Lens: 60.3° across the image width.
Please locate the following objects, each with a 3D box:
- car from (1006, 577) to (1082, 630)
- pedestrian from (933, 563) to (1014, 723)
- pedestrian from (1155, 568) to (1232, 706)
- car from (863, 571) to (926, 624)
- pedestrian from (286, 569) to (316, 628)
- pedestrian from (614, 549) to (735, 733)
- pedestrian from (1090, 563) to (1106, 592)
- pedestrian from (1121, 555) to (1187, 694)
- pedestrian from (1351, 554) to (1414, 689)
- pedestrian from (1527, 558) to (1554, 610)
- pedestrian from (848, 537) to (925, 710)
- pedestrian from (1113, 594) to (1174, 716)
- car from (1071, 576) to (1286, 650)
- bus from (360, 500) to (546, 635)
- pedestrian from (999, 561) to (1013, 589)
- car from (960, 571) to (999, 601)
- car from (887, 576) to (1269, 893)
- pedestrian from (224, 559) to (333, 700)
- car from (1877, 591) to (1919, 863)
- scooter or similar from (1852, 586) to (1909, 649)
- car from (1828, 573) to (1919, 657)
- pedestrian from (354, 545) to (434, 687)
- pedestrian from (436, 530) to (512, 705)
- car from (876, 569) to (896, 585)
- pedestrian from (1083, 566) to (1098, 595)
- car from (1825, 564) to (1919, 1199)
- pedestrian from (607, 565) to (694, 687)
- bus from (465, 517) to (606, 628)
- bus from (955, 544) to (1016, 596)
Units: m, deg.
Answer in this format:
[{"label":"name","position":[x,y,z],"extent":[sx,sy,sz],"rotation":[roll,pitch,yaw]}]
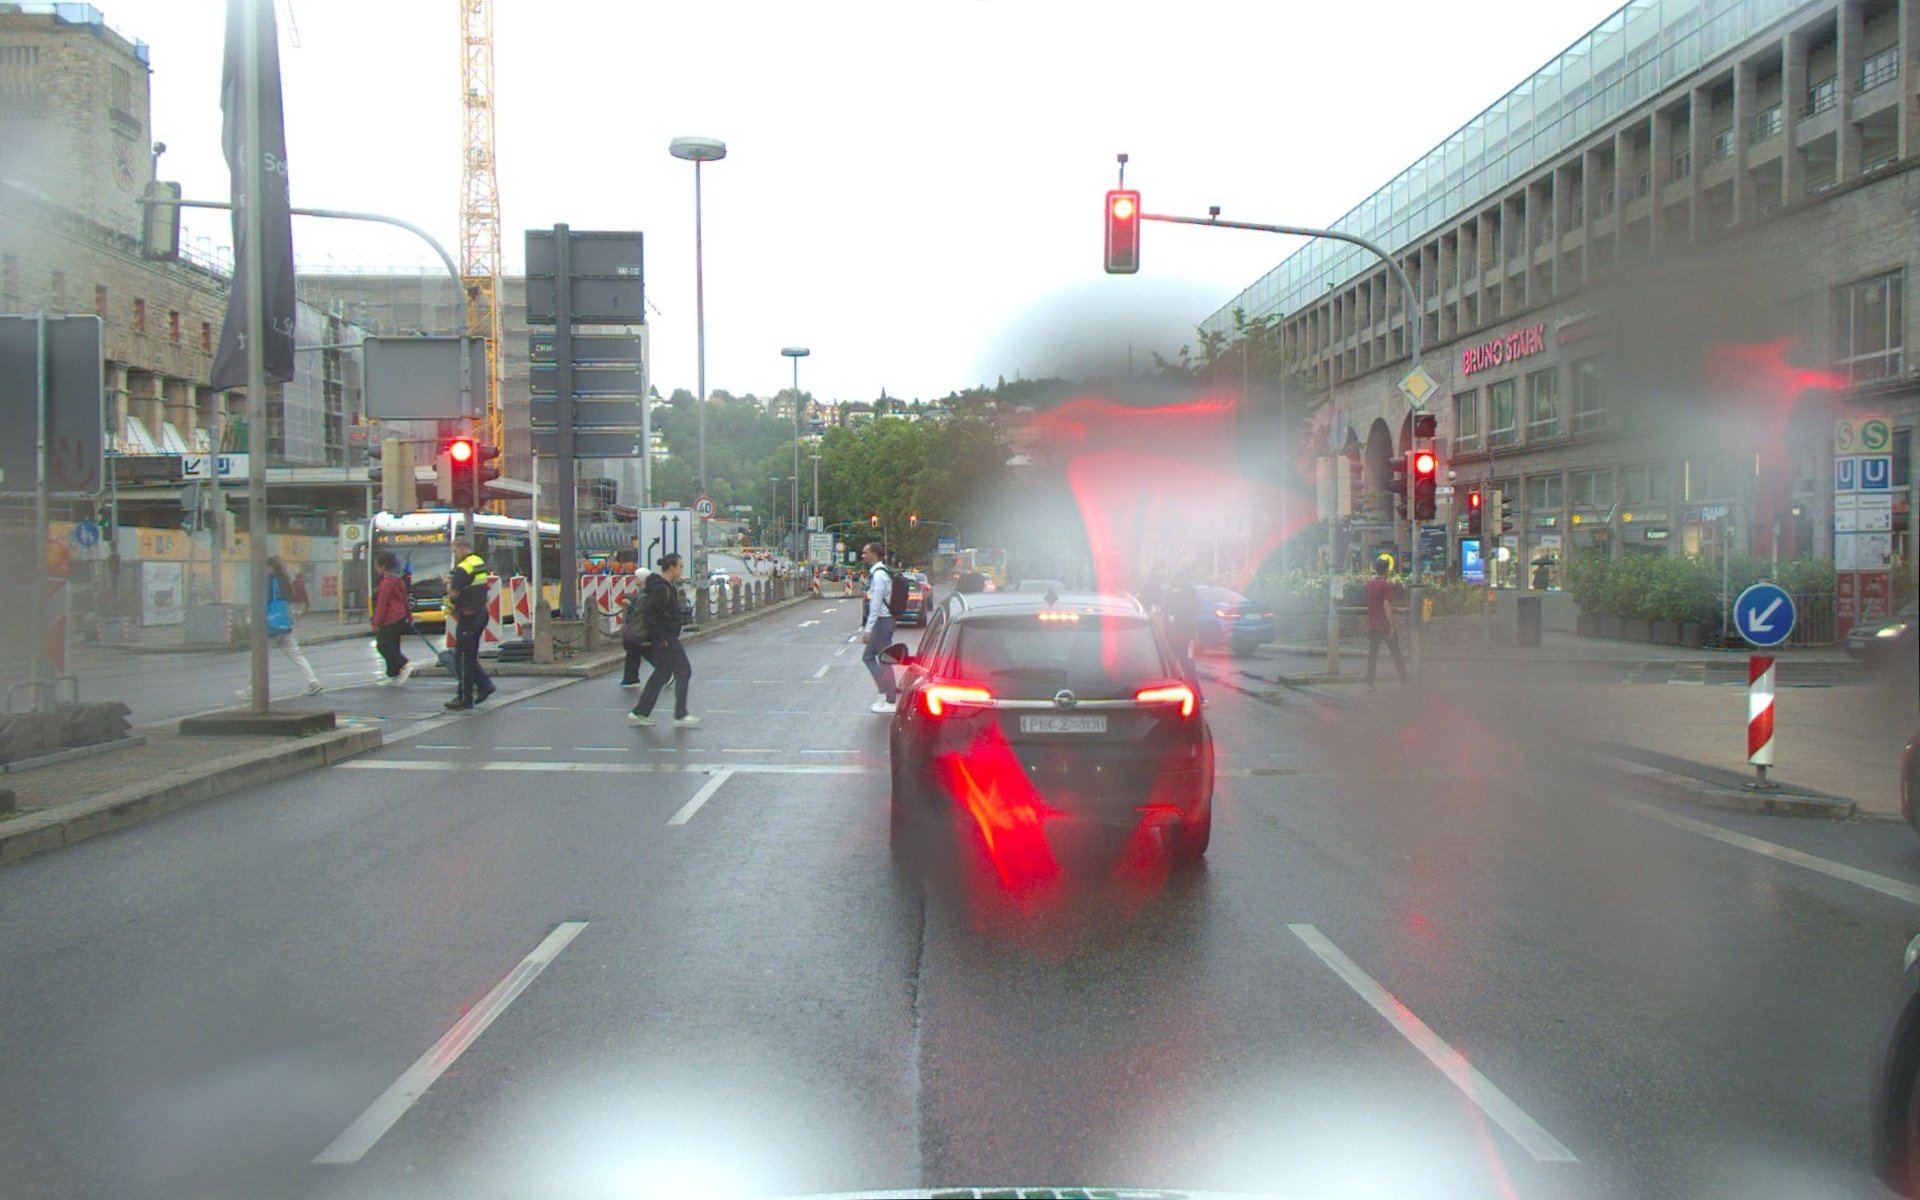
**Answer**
[{"label":"car","position":[2.372,0.078,47.691],"extent":[1.718,1.422,4.399],"rotation":[1,0,-3]},{"label":"pedestrian","position":[0.134,0.450,17.744],"extent":[0.778,1.654,0.899],"rotation":[1,0,-4]},{"label":"pedestrian","position":[2.822,0.444,20.055],"extent":[0.783,1.636,0.619],"rotation":[1,0,-4]},{"label":"car","position":[-1.880,-0.070,47.788],"extent":[1.718,1.422,4.536],"rotation":[1,0,-2]},{"label":"pedestrian","position":[-21.493,-0.054,53.958],"extent":[0.648,1.887,0.798],"rotation":[0,0,-1]},{"label":"pedestrian","position":[-2.858,0.402,16.650],"extent":[1.074,1.782,0.653],"rotation":[-2,0,-4]},{"label":"pedestrian","position":[8.065,-1.317,96.682],"extent":[0.748,1.720,0.824],"rotation":[1,0,-5]},{"label":"pedestrian","position":[2.483,0.313,21.208],"extent":[0.740,1.747,0.466],"rotation":[1,0,-5]},{"label":"pedestrian","position":[5.708,0.282,22.343],"extent":[0.560,1.783,0.676],"rotation":[1,0,42]},{"label":"pedestrian","position":[23.408,-0.651,66.711],"extent":[0.747,2.049,0.825],"rotation":[1,0,-1]},{"label":"pedestrian","position":[-0.837,0.264,18.782],"extent":[0.784,1.923,0.619],"rotation":[1,0,-9]},{"label":"pedestrian","position":[2.283,0.675,20.606],"extent":[0.665,1.500,0.366],"rotation":[1,0,-6]},{"label":"car","position":[4.465,0.235,34.439],"extent":[1.740,1.422,4.587],"rotation":[1,0,-37]},{"label":"bus","position":[-15.204,-0.902,50.535],"extent":[2.614,3.665,10.237],"rotation":[1,0,-1]},{"label":"pedestrian","position":[4.061,-2.230,147.135],"extent":[1.174,2.478,1.228],"rotation":[1,0,0]},{"label":"car","position":[0.941,-0.707,81.881],"extent":[1.808,1.422,3.563],"rotation":[1,0,-1]},{"label":"car","position":[0.536,0.649,10.039],"extent":[1.836,1.512,3.999],"rotation":[1,0,-1]},{"label":"pedestrian","position":[-7.889,0.334,19.184],"extent":[0.897,1.591,0.899],"rotation":[1,0,-4]},{"label":"car","position":[6.307,0.729,7.382],"extent":[1.836,1.512,4.525],"rotation":[1,0,-1]},{"label":"scooter or similar","position":[17.857,0.331,32.097],"extent":[0.285,1.210,1.014],"rotation":[1,0,-19]},{"label":"car","position":[17.404,0.277,28.839],"extent":[3.579,1.422,1.852],"rotation":[1,0,2]},{"label":"pedestrian","position":[-7.143,0.197,20.900],"extent":[0.783,1.747,0.619],"rotation":[-1,0,-4]},{"label":"pedestrian","position":[-5.302,0.185,18.082],"extent":[0.566,1.868,0.820],"rotation":[1,0,-1]},{"label":"car","position":[-6.803,-2.113,152.270],"extent":[1.723,1.422,3.563],"rotation":[1,0,-1]},{"label":"pedestrian","position":[7.737,-1.139,97.884],"extent":[0.748,1.720,0.824],"rotation":[1,0,-5]},{"label":"car","position":[3.055,0.708,1.731],"extent":[1.757,1.528,4.627],"rotation":[1,0,-2]},{"label":"pedestrian","position":[-4.147,0.342,22.144],"extent":[0.867,1.588,0.775],"rotation":[1,0,-41]},{"label":"bus","position":[-15.352,-0.938,60.718],"extent":[2.614,3.665,10.210],"rotation":[1,0,-1]},{"label":"bus","position":[1.777,-2.122,123.313],"extent":[4.089,3.529,14.651],"rotation":[1,0,-1]}]
